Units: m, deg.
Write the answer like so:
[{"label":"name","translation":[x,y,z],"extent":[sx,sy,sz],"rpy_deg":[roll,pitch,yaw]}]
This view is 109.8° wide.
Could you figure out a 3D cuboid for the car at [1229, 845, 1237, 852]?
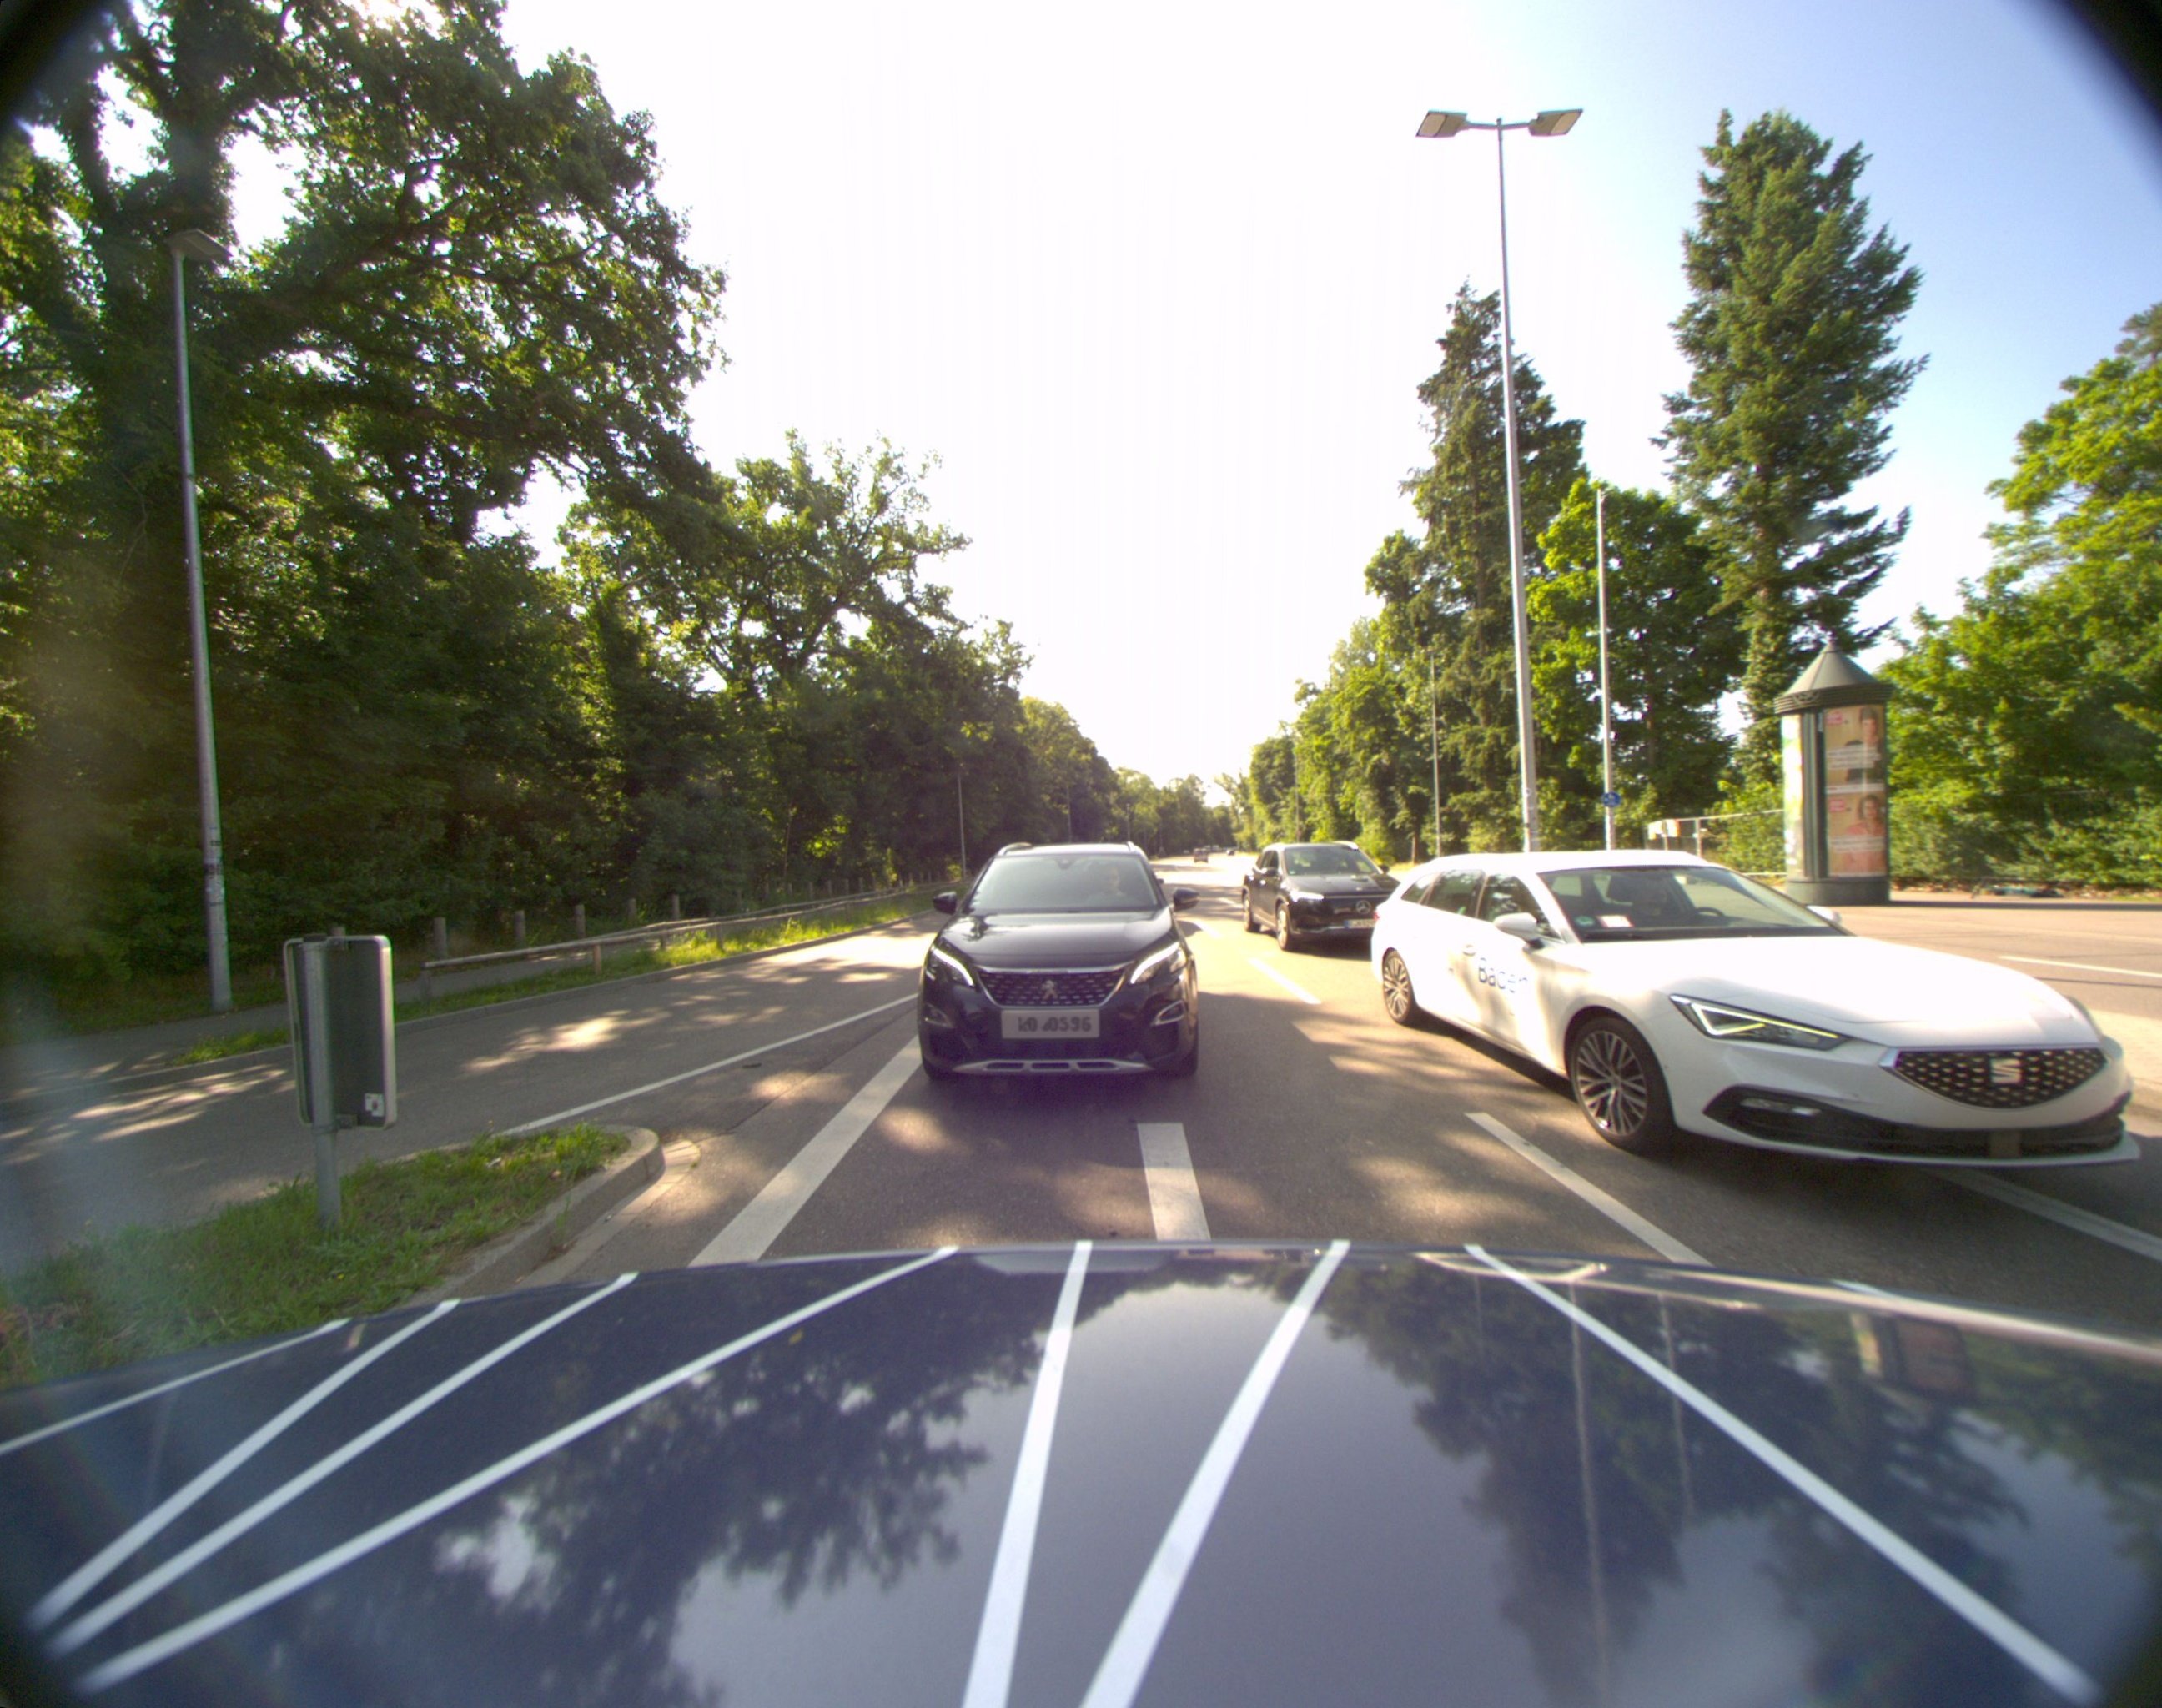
[{"label":"car","translation":[38.372,-1.449,192.134],"extent":[1.855,1.608,4.003],"rpy_deg":[-2,0,13]}]

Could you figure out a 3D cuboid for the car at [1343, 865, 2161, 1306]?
[{"label":"car","translation":[3.394,0.849,5.020],"extent":[1.729,1.418,4.719],"rpy_deg":[-1,0,1]}]

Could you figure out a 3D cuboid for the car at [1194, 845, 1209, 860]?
[{"label":"car","translation":[16.283,-0.209,102.796],"extent":[1.876,1.849,4.002],"rpy_deg":[-2,0,7]}]

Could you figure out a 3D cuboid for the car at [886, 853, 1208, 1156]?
[{"label":"car","translation":[-0.154,0.828,6.337],"extent":[1.702,1.581,4.319],"rpy_deg":[-2,0,1]}]

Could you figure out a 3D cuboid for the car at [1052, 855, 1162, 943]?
[{"label":"car","translation":[0.494,0.816,15.724],"extent":[1.933,1.499,4.000],"rpy_deg":[-2,0,1]}]

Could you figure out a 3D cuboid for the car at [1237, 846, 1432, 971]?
[{"label":"car","translation":[3.768,0.729,12.128],"extent":[1.809,1.586,4.274],"rpy_deg":[-2,0,3]}]
